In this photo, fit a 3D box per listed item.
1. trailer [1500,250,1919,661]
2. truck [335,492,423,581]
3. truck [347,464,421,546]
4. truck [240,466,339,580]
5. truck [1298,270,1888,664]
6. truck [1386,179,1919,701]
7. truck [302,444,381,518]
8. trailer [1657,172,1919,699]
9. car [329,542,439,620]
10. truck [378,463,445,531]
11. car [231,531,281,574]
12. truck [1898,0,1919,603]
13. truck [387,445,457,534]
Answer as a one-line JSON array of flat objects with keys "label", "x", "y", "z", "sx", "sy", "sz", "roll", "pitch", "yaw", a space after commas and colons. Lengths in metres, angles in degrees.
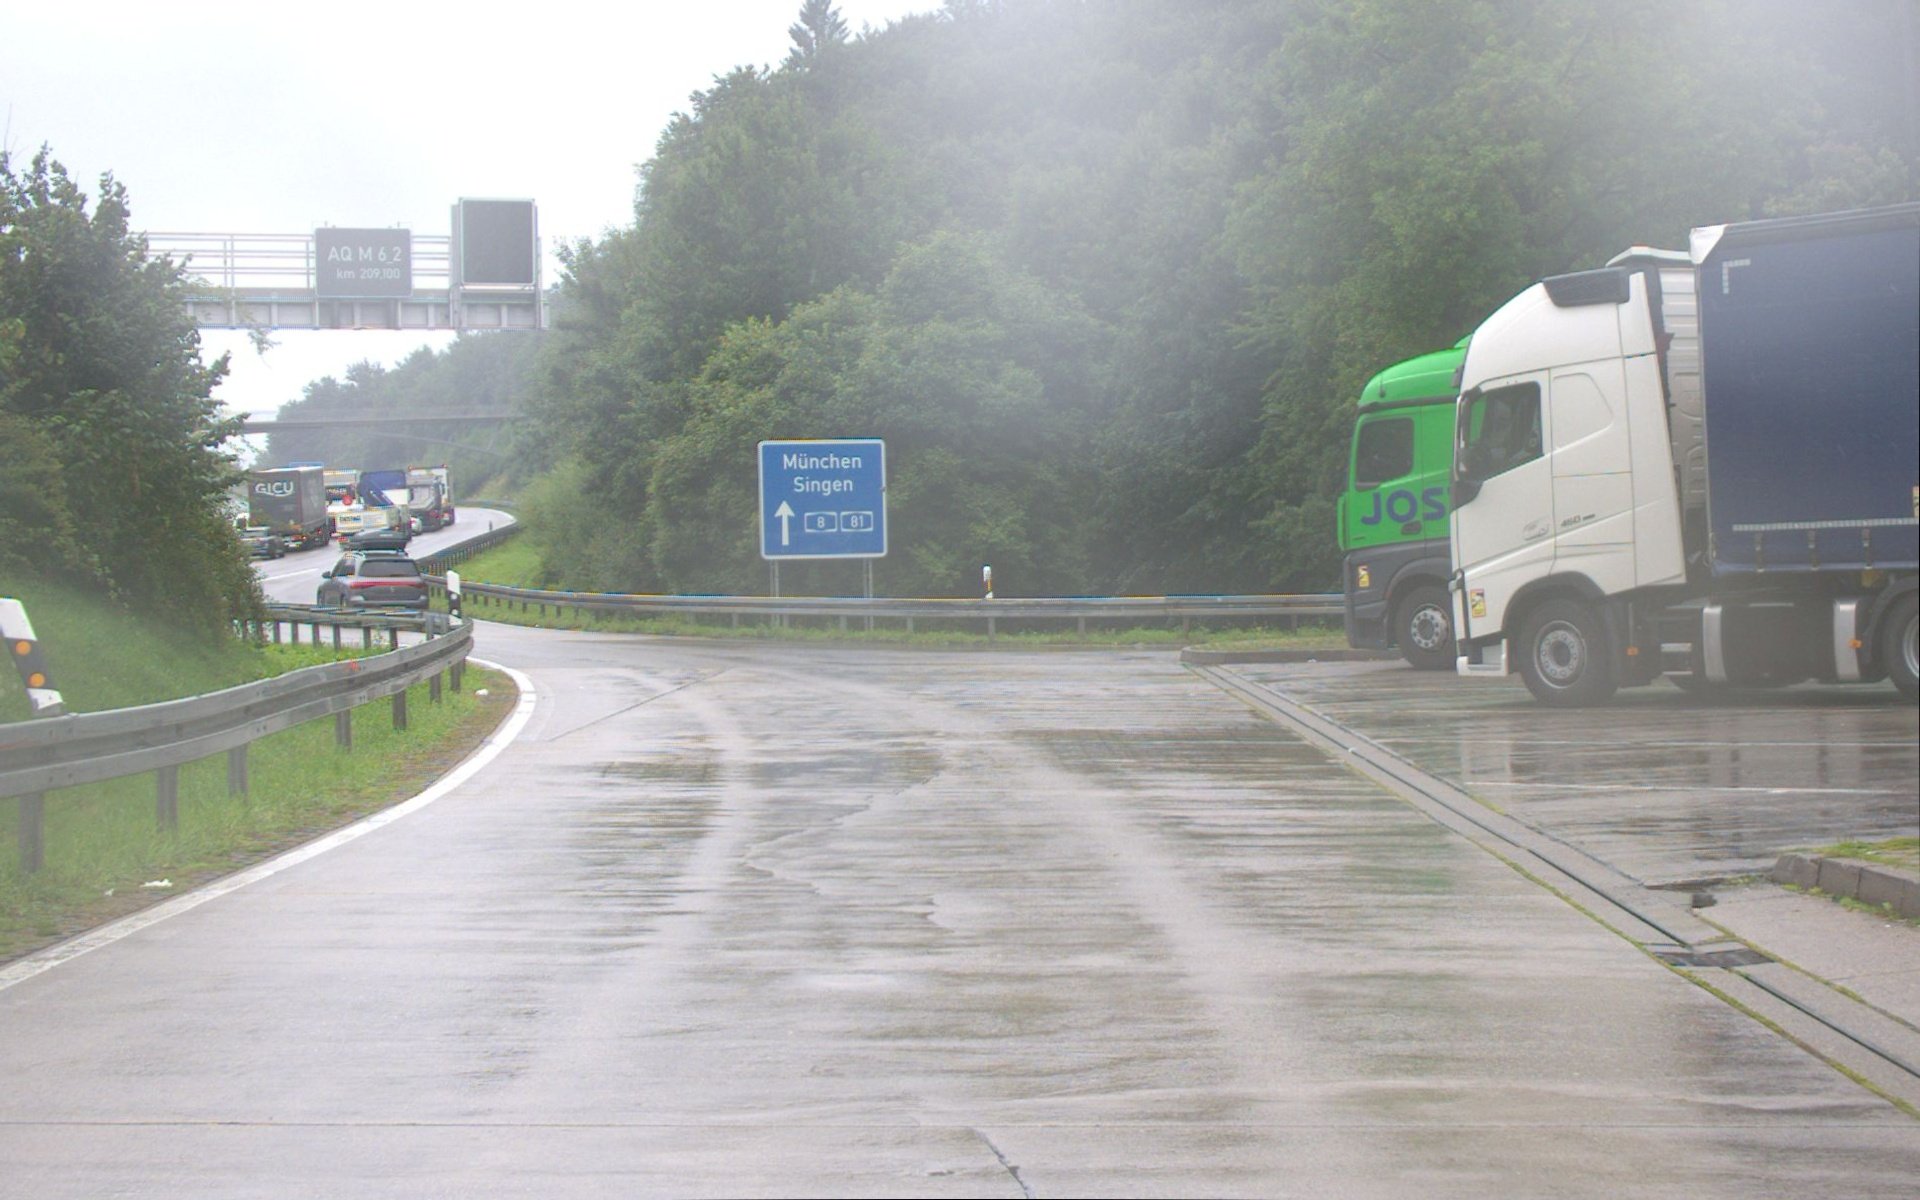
[{"label": "trailer", "x": 12.133, "y": -1.600, "z": 34.810, "sx": 13.958, "sy": 4.135, "sz": 2.820, "roll": -2, "pitch": 1, "yaw": 44}, {"label": "truck", "x": -29.105, "y": -3.272, "z": 172.746, "sx": 3.599, "sy": 4.090, "sz": 11.563, "roll": -3, "pitch": 3, "yaw": -7}, {"label": "truck", "x": -31.575, "y": -5.142, "z": 188.799, "sx": 3.506, "sy": 4.253, "sz": 10.606, "roll": 1, "pitch": 1, "yaw": -7}, {"label": "truck", "x": -33.620, "y": -3.819, "z": 172.748, "sx": 3.754, "sy": 5.480, "sz": 10.174, "roll": 1, "pitch": 1, "yaw": -5}, {"label": "truck", "x": 7.220, "y": -1.430, "z": 39.701, "sx": 5.993, "sy": 4.135, "sz": 2.820, "roll": -2, "pitch": 1, "yaw": 44}, {"label": "truck", "x": 6.787, "y": -1.270, "z": 30.105, "sx": 2.819, "sy": 4.131, "sz": 5.299, "roll": -3, "pitch": 1, "yaw": -44}, {"label": "truck", "x": -37.410, "y": -7.141, "z": 208.242, "sx": 3.576, "sy": 4.081, "sz": 10.882, "roll": -2, "pitch": 1, "yaw": -5}, {"label": "trailer", "x": 11.818, "y": -1.460, "z": 24.882, "sx": 2.819, "sy": 4.157, "sz": 13.986, "roll": -3, "pitch": 1, "yaw": -44}, {"label": "car", "x": -12.638, "y": -0.424, "z": 75.288, "sx": 1.993, "sy": 1.630, "sz": 4.001, "roll": 1, "pitch": 1, "yaw": -15}, {"label": "truck", "x": -34.047, "y": -6.361, "z": 213.899, "sx": 3.754, "sy": 3.957, "sz": 11.062, "roll": 1, "pitch": 1, "yaw": -7}, {"label": "car", "x": -31.782, "y": -2.122, "z": 155.268, "sx": 1.797, "sy": 1.897, "sz": 4.001, "roll": 0, "pitch": 1, "yaw": -6}, {"label": "truck", "x": 7.216, "y": -0.938, "z": 14.639, "sx": 2.824, "sy": 3.899, "sz": 5.407, "roll": -3, "pitch": 2, "yaw": -45}, {"label": "truck", "x": -36.351, "y": -7.385, "z": 232.534, "sx": 4.335, "sy": 5.744, "sz": 9.733, "roll": 1, "pitch": 1, "yaw": -7}]
